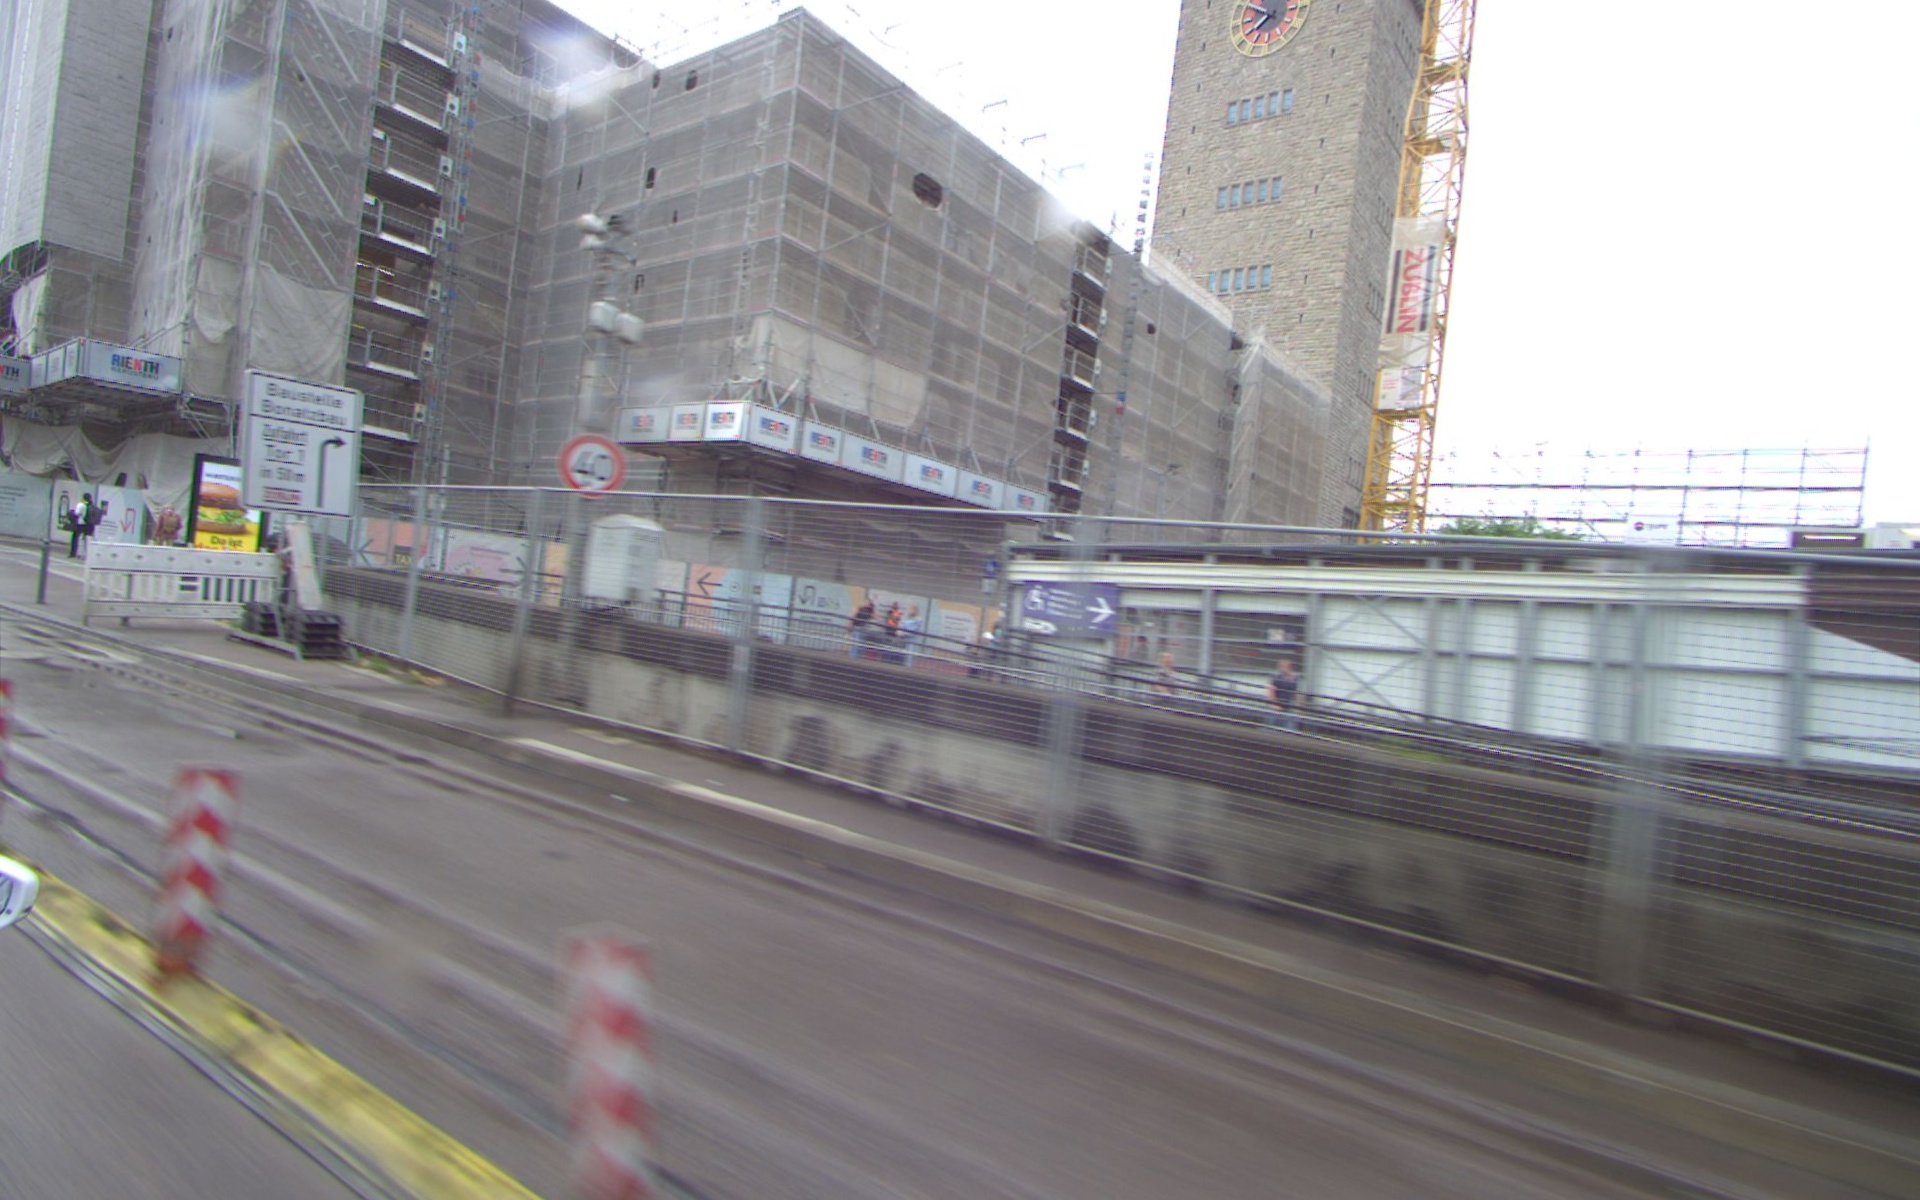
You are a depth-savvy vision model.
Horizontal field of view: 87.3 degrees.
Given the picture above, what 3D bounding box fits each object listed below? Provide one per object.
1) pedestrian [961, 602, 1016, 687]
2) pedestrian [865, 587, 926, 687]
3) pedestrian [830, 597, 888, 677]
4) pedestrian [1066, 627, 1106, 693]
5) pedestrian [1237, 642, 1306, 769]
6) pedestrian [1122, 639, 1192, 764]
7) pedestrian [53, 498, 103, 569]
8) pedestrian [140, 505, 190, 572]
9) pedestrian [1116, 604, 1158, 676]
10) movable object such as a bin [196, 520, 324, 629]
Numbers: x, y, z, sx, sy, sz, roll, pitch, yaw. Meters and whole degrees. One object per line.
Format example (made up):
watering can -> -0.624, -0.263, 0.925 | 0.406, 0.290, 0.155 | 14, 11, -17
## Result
pedestrian -> 0.737, 1.127, 25.596 | 0.918, 2.039, 0.763 | 7, 1, 34
pedestrian -> -1.400, 0.820, 21.945 | 0.752, 2.036, 0.806 | 7, -2, 29
pedestrian -> -2.210, 0.822, 22.041 | 0.697, 1.611, 0.857 | 7, -2, 29
pedestrian -> 4.118, 1.959, 32.843 | 0.698, 2.018, 0.847 | 6, 1, -44
pedestrian -> 5.381, 1.811, 17.328 | 0.752, 2.036, 0.866 | 7, -2, 29
pedestrian -> 3.447, 1.764, 17.553 | 0.752, 2.036, 0.780 | 7, -2, 29
pedestrian -> -22.706, -1.717, 25.907 | 0.942, 1.700, 0.735 | 7, 3, 37
pedestrian -> -21.850, -1.693, 27.641 | 1.093, 1.702, 0.732 | 7, 0, 40
pedestrian -> 4.373, 0.976, 24.900 | 0.690, 1.666, 0.914 | 6, 0, -2
movable object such as a bin -> -11.108, -0.405, 16.057 | 1.286, 1.510, 1.525 | 7, 0, -24
